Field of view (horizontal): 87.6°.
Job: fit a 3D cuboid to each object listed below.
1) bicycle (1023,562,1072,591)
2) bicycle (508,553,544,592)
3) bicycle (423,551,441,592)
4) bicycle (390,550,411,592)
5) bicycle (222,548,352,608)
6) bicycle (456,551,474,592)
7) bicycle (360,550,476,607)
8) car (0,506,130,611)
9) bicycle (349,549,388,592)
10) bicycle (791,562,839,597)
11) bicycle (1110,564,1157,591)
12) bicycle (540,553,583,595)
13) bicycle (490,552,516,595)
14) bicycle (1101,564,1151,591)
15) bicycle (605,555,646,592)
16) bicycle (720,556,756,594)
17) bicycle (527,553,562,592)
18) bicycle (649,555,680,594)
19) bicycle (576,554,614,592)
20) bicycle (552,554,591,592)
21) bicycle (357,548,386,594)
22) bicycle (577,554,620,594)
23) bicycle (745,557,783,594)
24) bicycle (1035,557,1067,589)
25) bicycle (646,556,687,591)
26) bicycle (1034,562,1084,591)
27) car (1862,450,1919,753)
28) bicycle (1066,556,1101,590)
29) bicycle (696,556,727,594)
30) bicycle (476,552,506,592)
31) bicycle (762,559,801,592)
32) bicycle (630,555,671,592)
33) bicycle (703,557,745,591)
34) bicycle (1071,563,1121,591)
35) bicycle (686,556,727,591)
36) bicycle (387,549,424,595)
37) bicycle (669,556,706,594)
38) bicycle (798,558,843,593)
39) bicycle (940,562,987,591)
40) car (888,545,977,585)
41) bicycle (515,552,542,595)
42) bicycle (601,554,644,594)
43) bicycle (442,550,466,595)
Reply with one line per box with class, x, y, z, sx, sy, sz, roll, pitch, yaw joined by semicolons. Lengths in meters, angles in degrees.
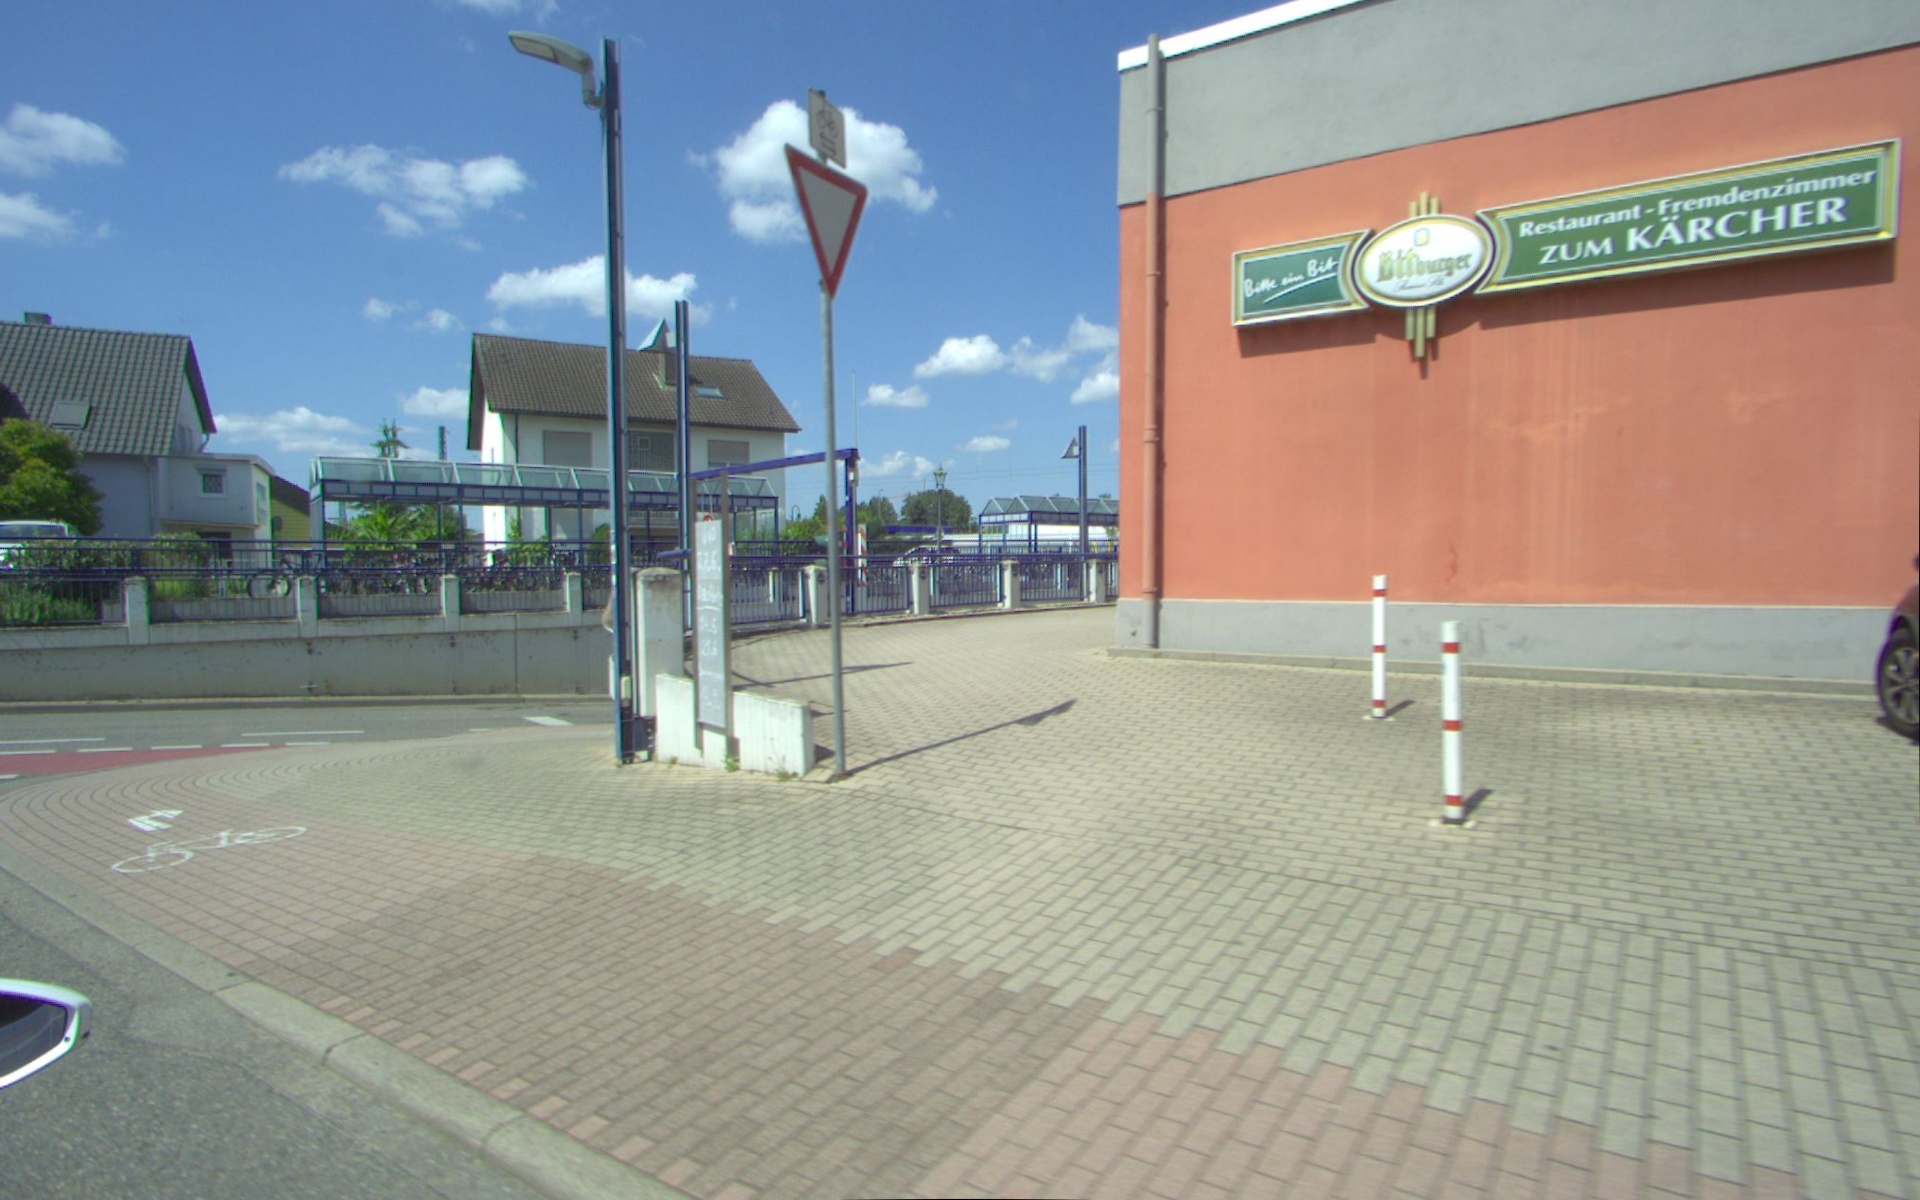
bicycle;3.097;-0.834;35.684;0.433;1.008;2.008;-1;2;-40
bicycle;-11.585;-0.736;26.701;0.469;1.008;1.950;-1;2;-36
bicycle;-13.463;-0.723;25.555;0.368;1.008;1.956;-1;2;-27
bicycle;-13.847;-0.709;24.791;0.368;1.008;1.956;-1;2;-27
bicycle;-13.182;-0.427;19.660;2.096;1.141;0.330;-1;2;-38
bicycle;-12.766;-0.724;25.818;0.368;1.008;1.956;-1;2;-27
bicycle;-11.378;-0.445;21.068;2.096;1.141;0.389;-1;2;-38
car;-18.358;-0.749;20.073;1.973;1.819;4.174;3;-2;-31
bicycle;-14.325;-0.701;24.275;0.449;1.008;1.882;0;2;-20
bicycle;-4.361;-0.625;30.030;0.432;1.008;2.145;-1;2;-37
bicycle;6.630;-0.870;38.439;0.506;1.008;1.906;-1;2;-40
bicycle;-10.032;-0.658;25.181;0.527;1.008;2.265;-1;2;-34
bicycle;-11.182;-0.651;24.491;0.430;1.008;2.269;-1;2;-28
bicycle;6.276;-0.861;37.920;0.506;1.008;2.008;-1;2;-40
bicycle;-9.386;-0.751;28.086;0.514;1.008;1.950;-1;2;-36
bicycle;-6.248;-0.697;28.141;0.509;1.008;2.029;-1;2;-27
bicycle;-11.197;-0.739;26.972;0.410;1.008;1.950;-1;2;-36
bicycle;-7.880;-0.676;26.675;0.571;1.008;2.180;0;2;-23
bicycle;-10.180;-0.753;27.918;0.514;1.008;1.788;-1;2;-36
bicycle;-10.643;-0.745;27.419;0.514;1.008;1.950;-1;2;-36
bicycle;-13.459;-0.665;22.881;0.329;1.008;2.059;-1;2;-37
bicycle;-9.365;-0.670;25.913;0.527;1.008;2.173;-1;2;-34
bicycle;-5.619;-0.704;28.657;0.537;1.008;2.029;-1;2;-27
bicycle;3.454;-1.019;38.006;0.381;1.174;1.593;-1;2;-28
bicycle;-8.549;-0.768;29.125;0.514;1.008;1.950;-1;2;-36
bicycle;3.557;-0.839;36.090;0.506;1.008;2.008;-1;2;-40
car;5.145;0.125;3.772;1.783;1.512;3.883;-1;7;30
bicycle;4.470;-0.975;36.306;0.423;1.174;1.593;-1;2;-28
bicycle;-6.929;-0.695;27.836;0.509;1.008;2.031;0;2;-24
bicycle;-12.338;-0.732;26.314;0.422;1.008;1.952;-1;2;-33
bicycle;-5.562;-0.757;31.089;0.537;1.008;2.027;-1;2;-30
bicycle;-8.846;-0.758;28.583;0.514;1.008;1.950;-1;2;-36
bicycle;-7.114;-0.780;30.105;0.514;1.008;1.950;-1;2;-36
bicycle;4.993;-0.849;36.981;0.506;1.008;2.008;-1;2;-40
bicycle;-7.552;-0.776;29.778;0.514;1.008;1.950;-1;2;-36
bicycle;-12.669;-0.627;22.912;0.429;1.008;2.095;0;2;-20
bicycle;-7.466;-0.689;27.391;0.509;1.008;2.028;-1;2;-29
bicycle;-4.182;-0.722;29.938;0.538;1.008;2.025;-1;2;-33
bicycle;0.104;-0.857;35.836;0.506;1.008;2.008;-1;2;-40
car;-1.294;-1.560;44.995;1.978;1.700;3.964;-1;2;-40
bicycle;-10.699;-0.655;24.810;0.430;1.008;2.269;-1;2;-28
bicycle;-8.944;-0.680;26.504;0.527;1.008;2.173;-1;2;-34
bicycle;-11.941;-0.638;23.646;0.430;1.008;2.093;0;2;-25
